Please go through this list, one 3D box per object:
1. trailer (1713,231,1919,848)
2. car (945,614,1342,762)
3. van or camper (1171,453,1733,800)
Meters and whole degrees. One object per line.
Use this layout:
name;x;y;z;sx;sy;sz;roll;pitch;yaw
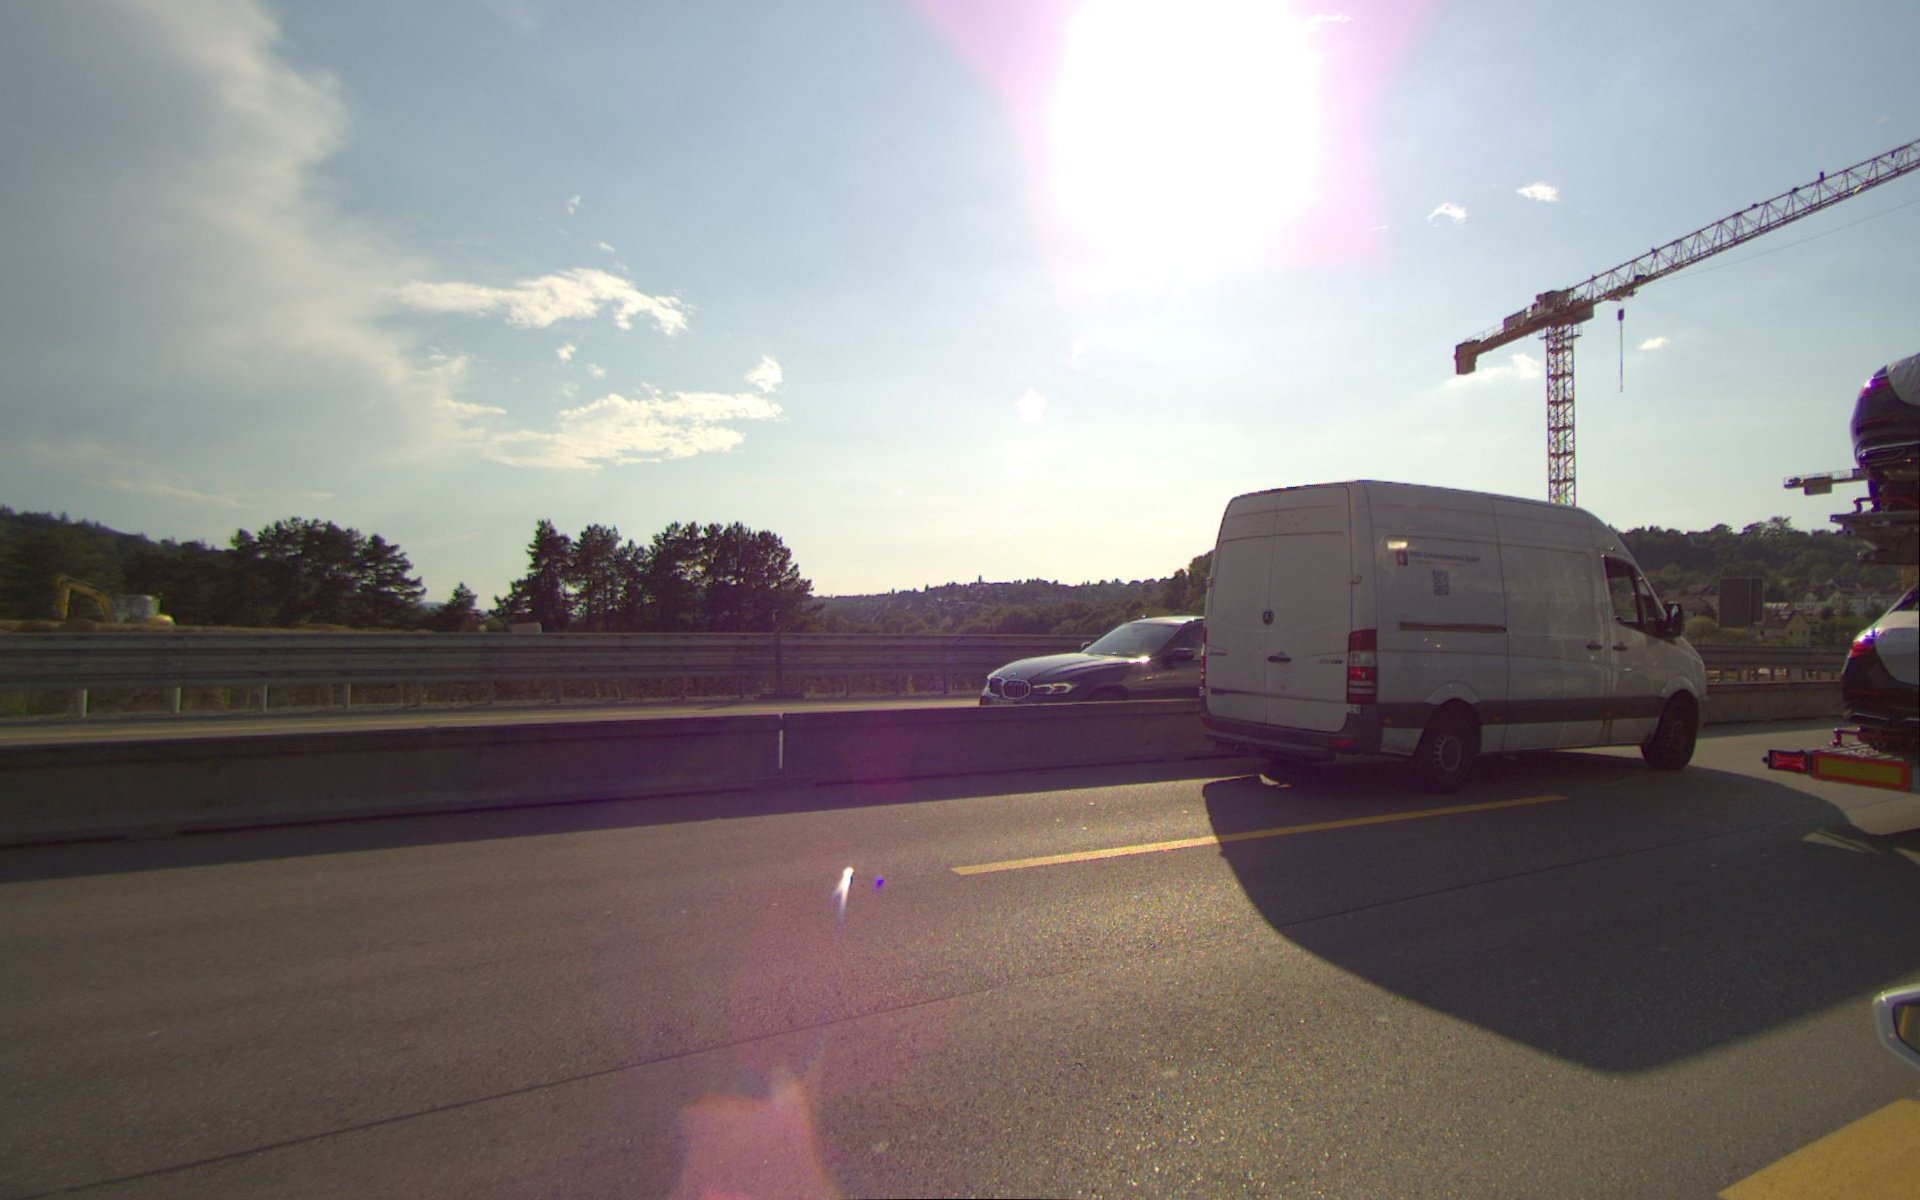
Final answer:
trailer;13.181;-0.211;10.181;15.554;4.049;2.845;2;-2;-29
car;2.241;0.982;12.059;4.481;1.484;1.985;2;-3;-29
van or camper;5.025;0.283;9.959;5.830;2.654;1.985;2;-1;-28
